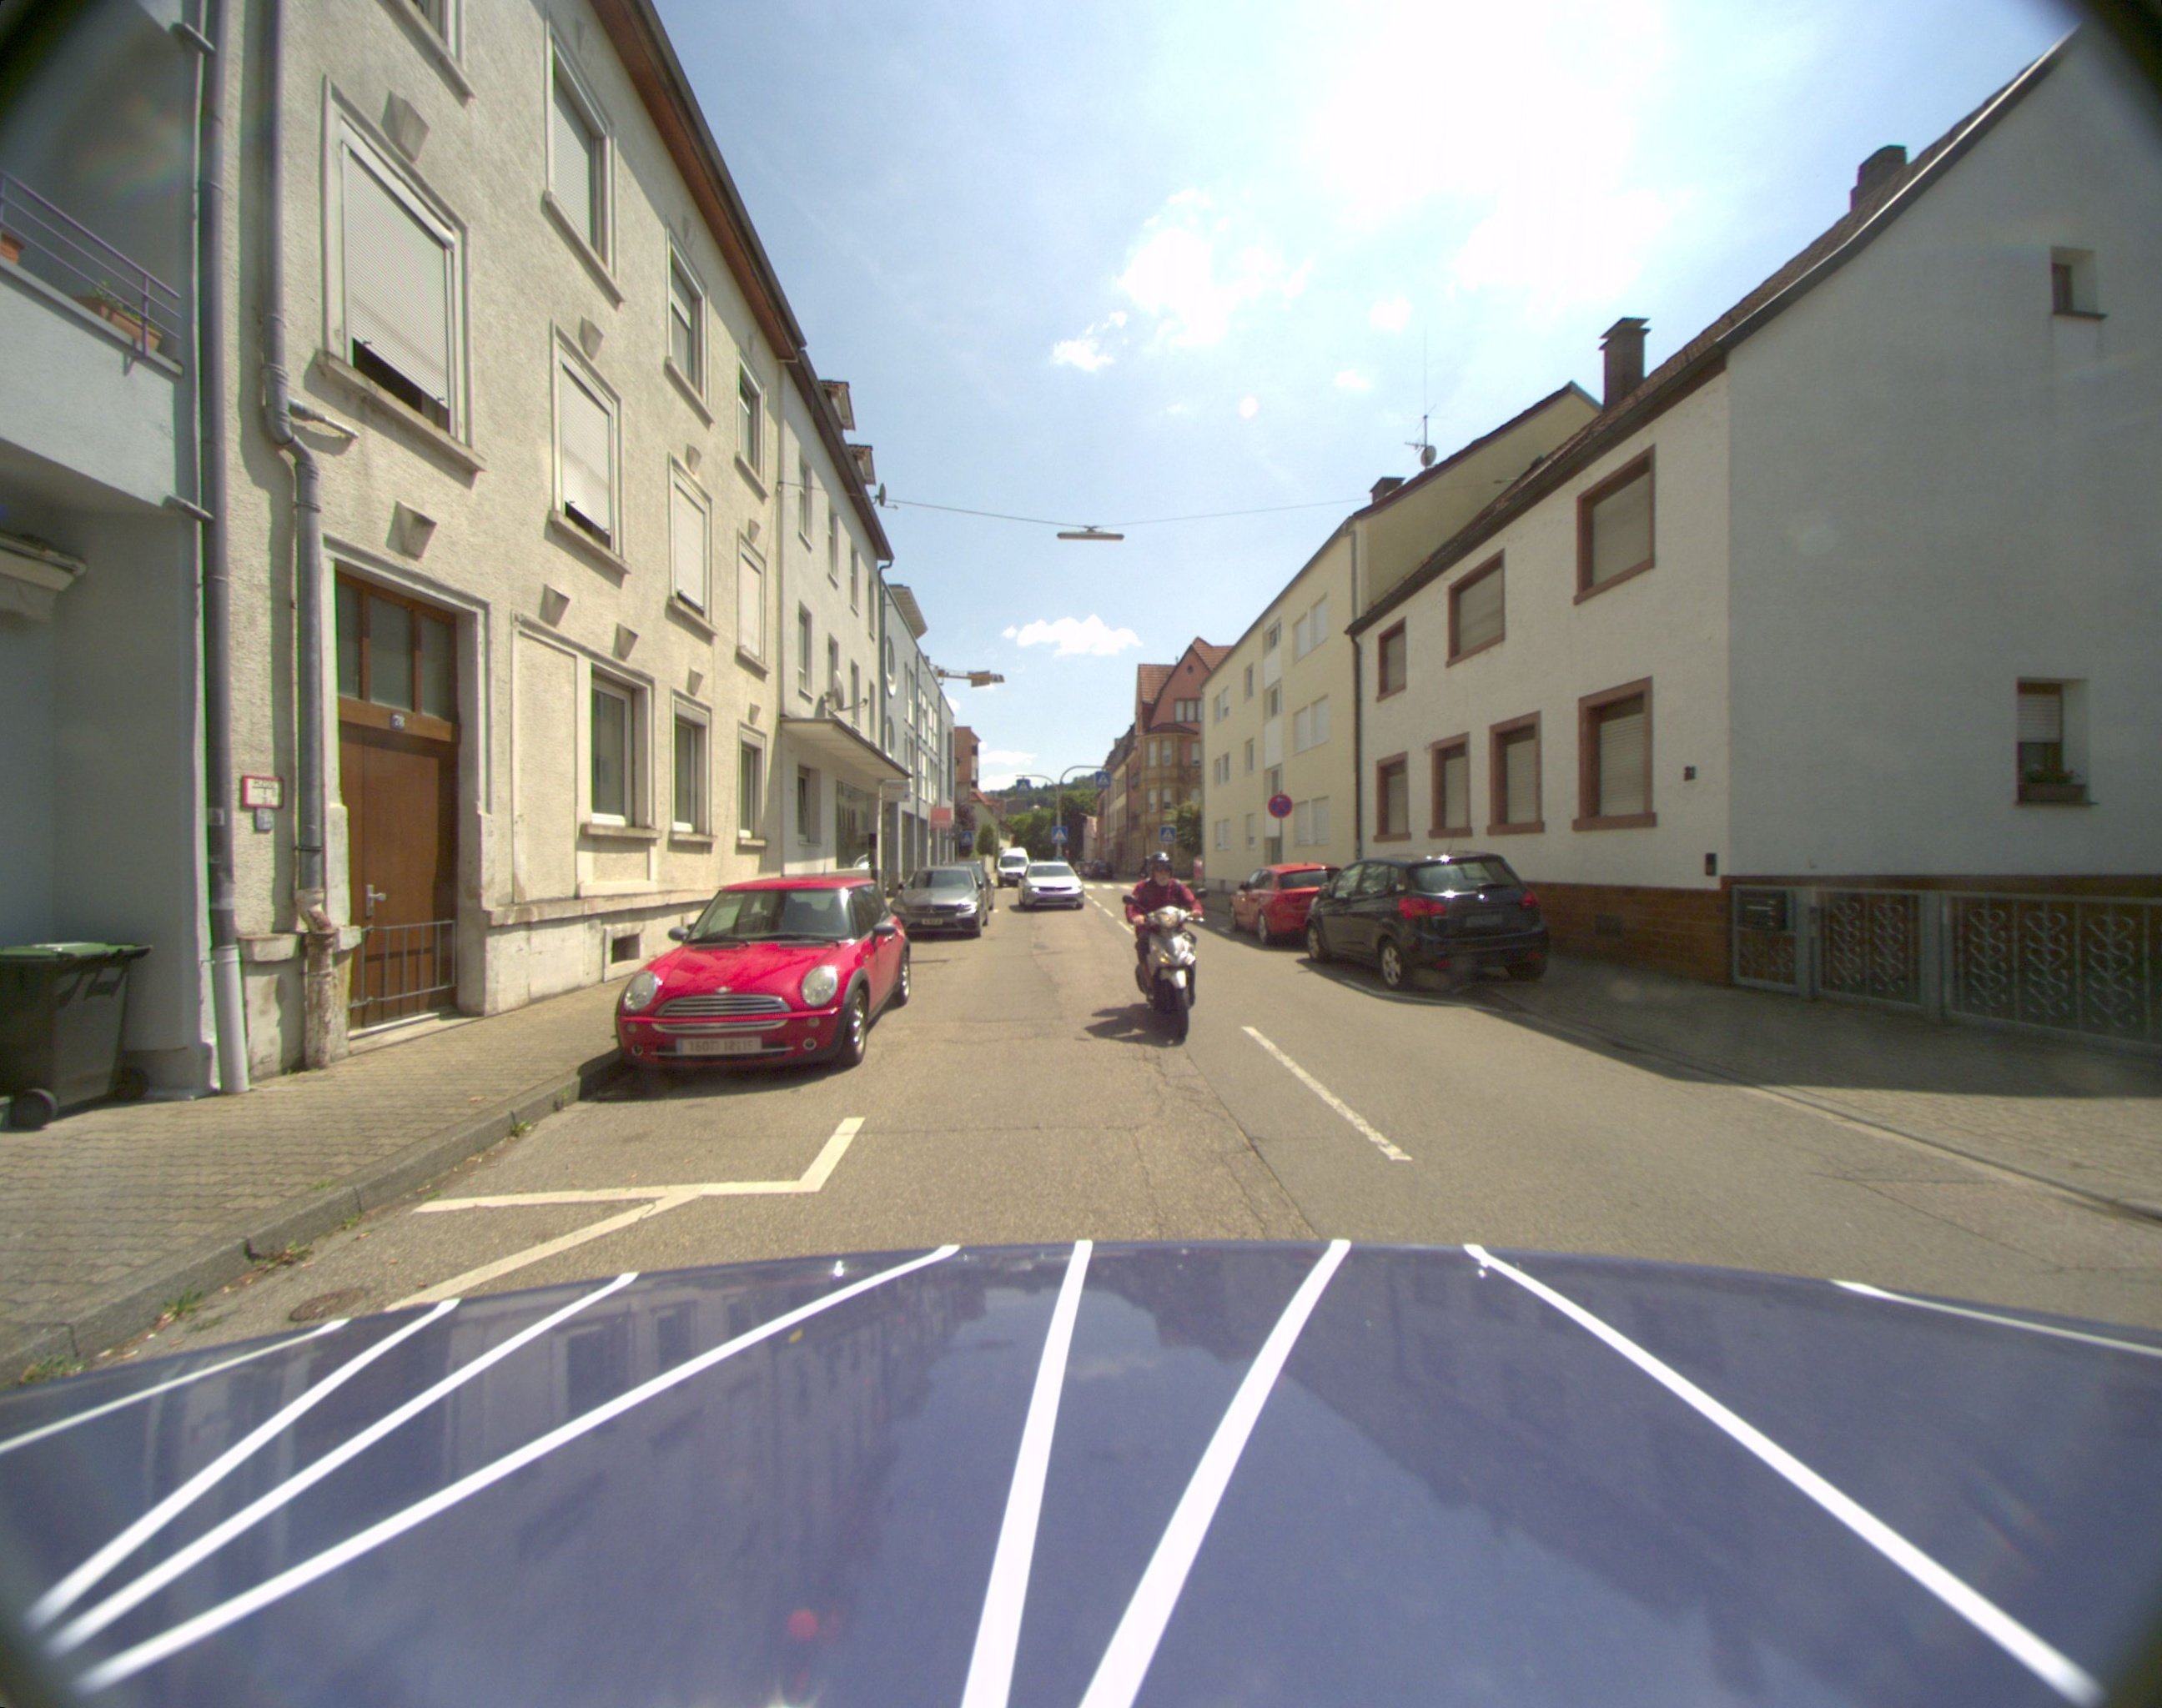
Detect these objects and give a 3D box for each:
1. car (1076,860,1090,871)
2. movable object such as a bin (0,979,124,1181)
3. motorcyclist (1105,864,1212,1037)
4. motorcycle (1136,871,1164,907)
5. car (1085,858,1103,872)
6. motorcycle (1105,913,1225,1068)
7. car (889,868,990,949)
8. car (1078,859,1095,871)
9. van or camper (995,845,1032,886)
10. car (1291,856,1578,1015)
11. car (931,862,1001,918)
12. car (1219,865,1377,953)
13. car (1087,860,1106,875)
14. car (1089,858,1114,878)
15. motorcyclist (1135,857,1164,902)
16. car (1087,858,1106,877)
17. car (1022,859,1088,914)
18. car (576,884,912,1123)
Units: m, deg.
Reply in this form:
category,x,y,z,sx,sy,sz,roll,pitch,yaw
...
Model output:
category,x,y,z,sx,sy,sz,roll,pitch,yaw
car,0.226,1.531,103.426,1.715,1.450,3.852,1,-1,-3
movable object such as a bin,-5.598,1.172,4.008,0.474,0.929,0.487,0,0,-11
motorcyclist,0.676,0.824,6.958,0.793,1.431,1.020,-2,0,-3
motorcycle,2.317,1.160,25.659,0.689,1.116,2.027,0,0,-2
car,1.342,1.148,79.726,1.603,1.433,3.494,0,0,-4
motorcycle,0.691,1.144,6.931,0.760,1.049,1.991,-2,0,-3
car,-2.927,1.065,16.566,1.734,1.412,4.542,-1,0,-5
car,0.682,1.384,94.452,1.883,1.501,4.381,-1,0,-2
van or camper,-3.948,0.685,45.261,1.999,2.273,5.143,-1,-1,-3
car,4.341,0.873,10.103,1.799,1.637,3.944,-2,0,-3
car,-3.427,1.022,23.238,1.714,1.499,3.999,-1,0,-3
car,4.081,0.967,15.058,1.838,1.408,4.289,-1,0,-1
car,1.446,1.274,73.777,1.639,1.423,4.017,1,0,-2
car,1.621,1.096,60.848,1.787,1.449,4.634,0,0,-1
motorcyclist,2.309,0.849,25.622,0.825,1.500,1.056,0,0,-2
car,1.342,1.128,65.062,1.440,1.514,2.695,0,0,-3
car,-0.898,0.958,23.843,1.813,1.512,3.998,-1,0,-5
car,-2.573,1.034,6.712,1.623,1.377,3.537,-1,0,-5
